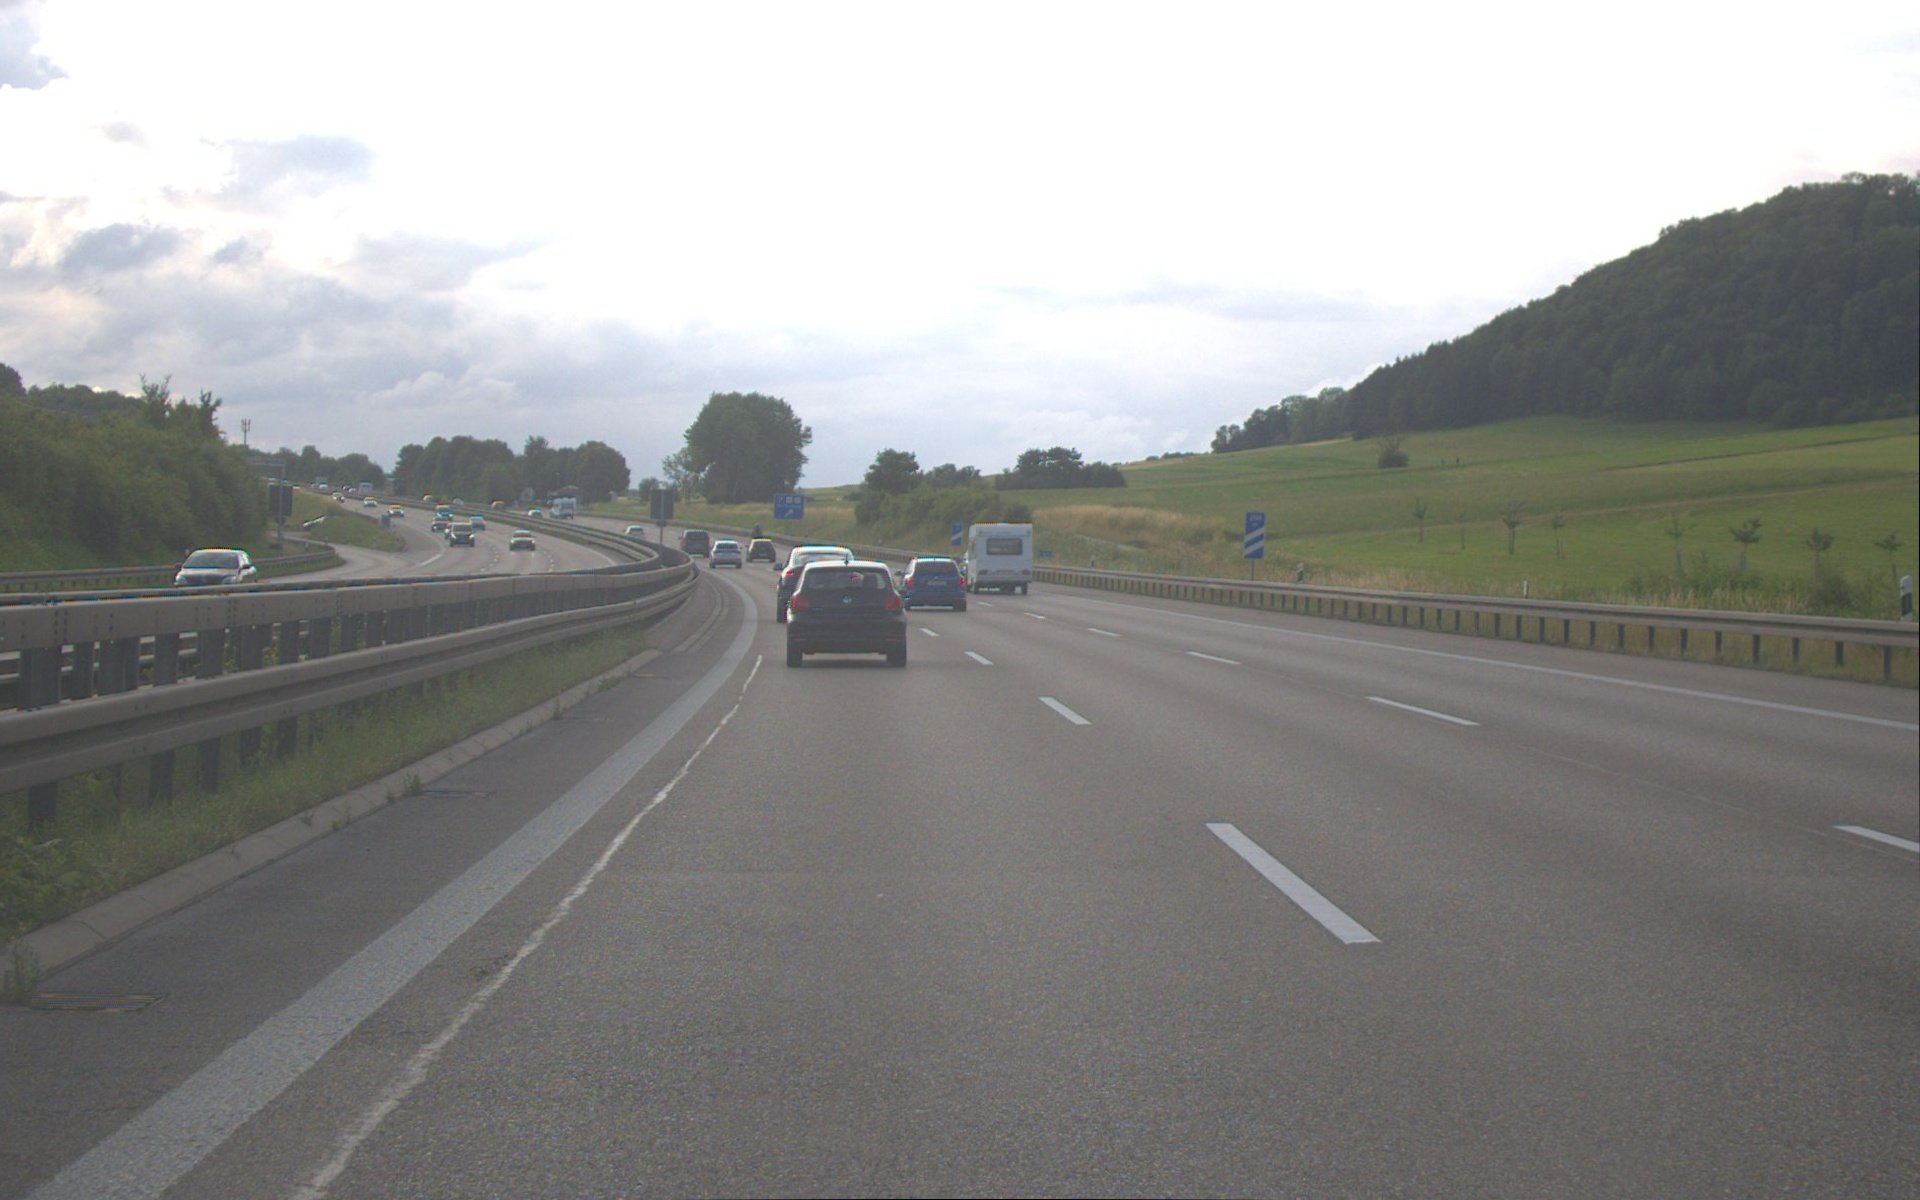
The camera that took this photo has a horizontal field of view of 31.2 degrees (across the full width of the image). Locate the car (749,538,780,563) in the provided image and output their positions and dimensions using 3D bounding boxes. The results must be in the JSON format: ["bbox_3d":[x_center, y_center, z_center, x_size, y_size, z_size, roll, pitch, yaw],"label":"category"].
[{"bbox_3d":[-12.637,-3.198,222.572,1.957,1.568,4.000,1,1,-2],"label":"car"}]

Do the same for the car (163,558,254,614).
[{"bbox_3d":[-19.665,-0.373,90.114,1.706,1.410,4.001,1,1,-3],"label":"car"}]

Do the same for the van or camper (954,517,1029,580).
[{"bbox_3d":[1.173,-1.864,124.849,2.548,2.232,5.329,1,1,2],"label":"van or camper"}]

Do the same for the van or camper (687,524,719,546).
[{"bbox_3d":[-17.737,-4.463,237.328,1.966,1.428,4.000,1,1,-1],"label":"van or camper"}]

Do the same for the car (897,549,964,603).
[{"bbox_3d":[-0.827,-0.682,93.894,1.767,1.428,4.000,1,1,-1],"label":"car"}]

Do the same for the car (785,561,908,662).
[{"bbox_3d":[-1.636,0.135,48.459,1.538,1.343,3.677,0,1,-5],"label":"car"}]

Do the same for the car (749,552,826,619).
[{"bbox_3d":[-3.706,-0.332,74.303,1.565,1.376,4.000,1,1,-2],"label":"car"}]
